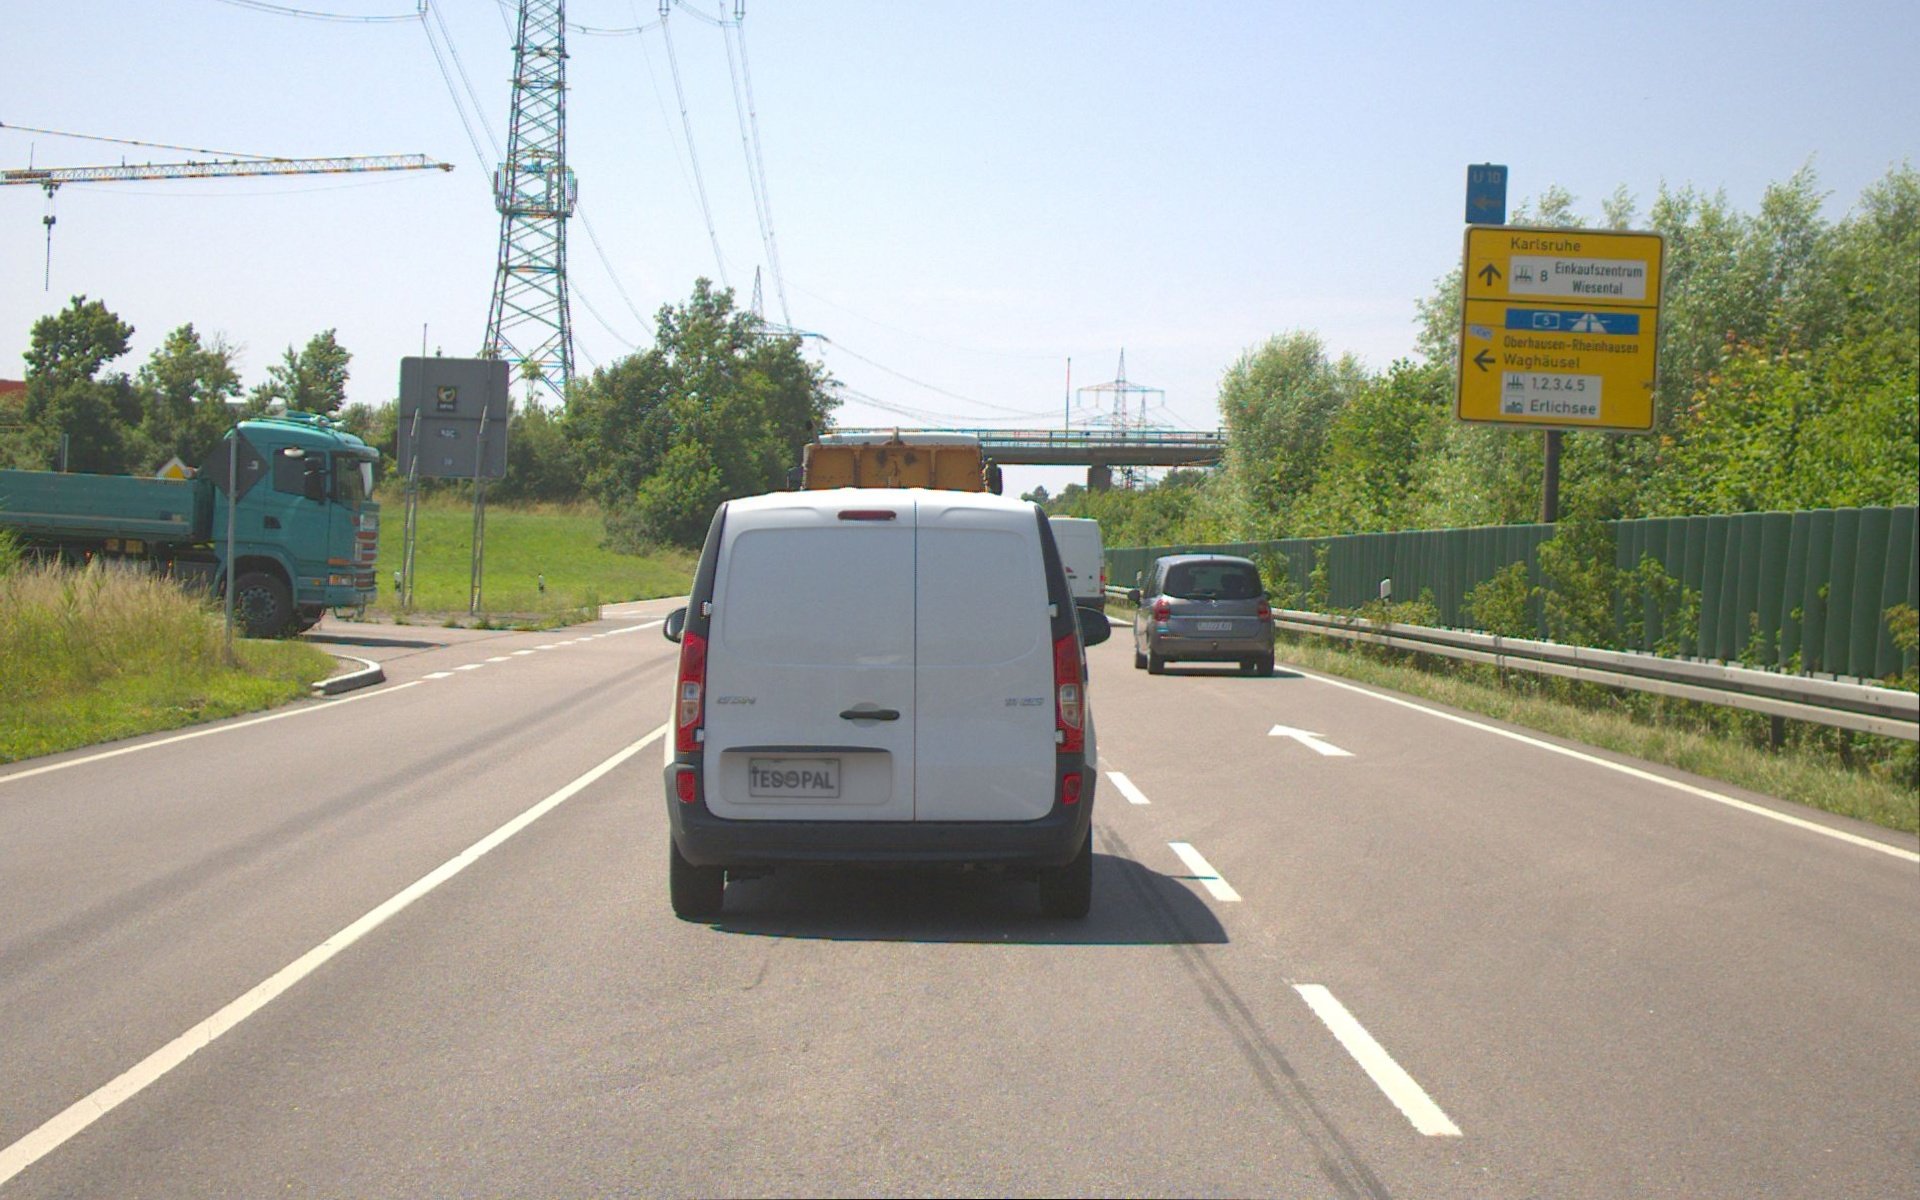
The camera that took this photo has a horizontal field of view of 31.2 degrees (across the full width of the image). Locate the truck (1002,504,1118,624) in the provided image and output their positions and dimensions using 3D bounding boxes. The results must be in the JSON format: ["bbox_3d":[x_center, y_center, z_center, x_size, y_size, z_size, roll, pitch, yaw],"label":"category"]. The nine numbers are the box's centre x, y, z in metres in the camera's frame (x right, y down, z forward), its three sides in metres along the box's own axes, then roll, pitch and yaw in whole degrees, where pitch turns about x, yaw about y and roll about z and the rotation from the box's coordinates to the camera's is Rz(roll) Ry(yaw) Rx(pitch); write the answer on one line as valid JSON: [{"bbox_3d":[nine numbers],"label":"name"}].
[{"bbox_3d":[2.333,-0.879,82.640,2.374,2.680,8.010,2,1,-1],"label":"truck"}]

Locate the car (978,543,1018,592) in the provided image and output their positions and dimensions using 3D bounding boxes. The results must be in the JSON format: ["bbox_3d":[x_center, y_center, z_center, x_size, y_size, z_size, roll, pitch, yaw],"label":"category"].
[{"bbox_3d":[1.630,-1.402,147.239,1.559,2.007,3.589,2,1,-1],"label":"car"}]

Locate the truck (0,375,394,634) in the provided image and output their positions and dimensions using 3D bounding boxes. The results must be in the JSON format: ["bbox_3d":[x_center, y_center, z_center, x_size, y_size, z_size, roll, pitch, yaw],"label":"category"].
[{"bbox_3d":[-13.310,-1.567,54.901,7.905,3.722,2.498,3,1,2],"label":"truck"}]

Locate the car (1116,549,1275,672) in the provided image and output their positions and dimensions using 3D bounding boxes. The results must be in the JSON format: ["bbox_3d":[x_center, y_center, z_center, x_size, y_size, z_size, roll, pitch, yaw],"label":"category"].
[{"bbox_3d":[3.127,0.106,46.274,1.848,1.568,4.000,1,1,0],"label":"car"}]

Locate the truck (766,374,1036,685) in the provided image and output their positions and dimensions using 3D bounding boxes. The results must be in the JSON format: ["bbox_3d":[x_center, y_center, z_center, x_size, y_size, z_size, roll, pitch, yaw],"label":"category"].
[{"bbox_3d":[-0.799,-0.873,41.677,2.820,3.277,9.702,1,1,-2],"label":"truck"}]

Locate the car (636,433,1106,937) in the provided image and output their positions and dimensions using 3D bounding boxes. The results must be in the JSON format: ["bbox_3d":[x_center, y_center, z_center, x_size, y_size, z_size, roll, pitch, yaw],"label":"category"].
[{"bbox_3d":[-0.371,0.307,15.509,1.827,1.964,4.000,1,1,-1],"label":"car"}]

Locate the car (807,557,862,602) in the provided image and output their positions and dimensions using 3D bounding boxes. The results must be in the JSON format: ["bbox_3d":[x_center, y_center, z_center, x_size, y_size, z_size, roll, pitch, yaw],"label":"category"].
[{"bbox_3d":[-4.478,-0.746,123.089,1.725,1.436,4.249,4,1,0],"label":"car"}]
